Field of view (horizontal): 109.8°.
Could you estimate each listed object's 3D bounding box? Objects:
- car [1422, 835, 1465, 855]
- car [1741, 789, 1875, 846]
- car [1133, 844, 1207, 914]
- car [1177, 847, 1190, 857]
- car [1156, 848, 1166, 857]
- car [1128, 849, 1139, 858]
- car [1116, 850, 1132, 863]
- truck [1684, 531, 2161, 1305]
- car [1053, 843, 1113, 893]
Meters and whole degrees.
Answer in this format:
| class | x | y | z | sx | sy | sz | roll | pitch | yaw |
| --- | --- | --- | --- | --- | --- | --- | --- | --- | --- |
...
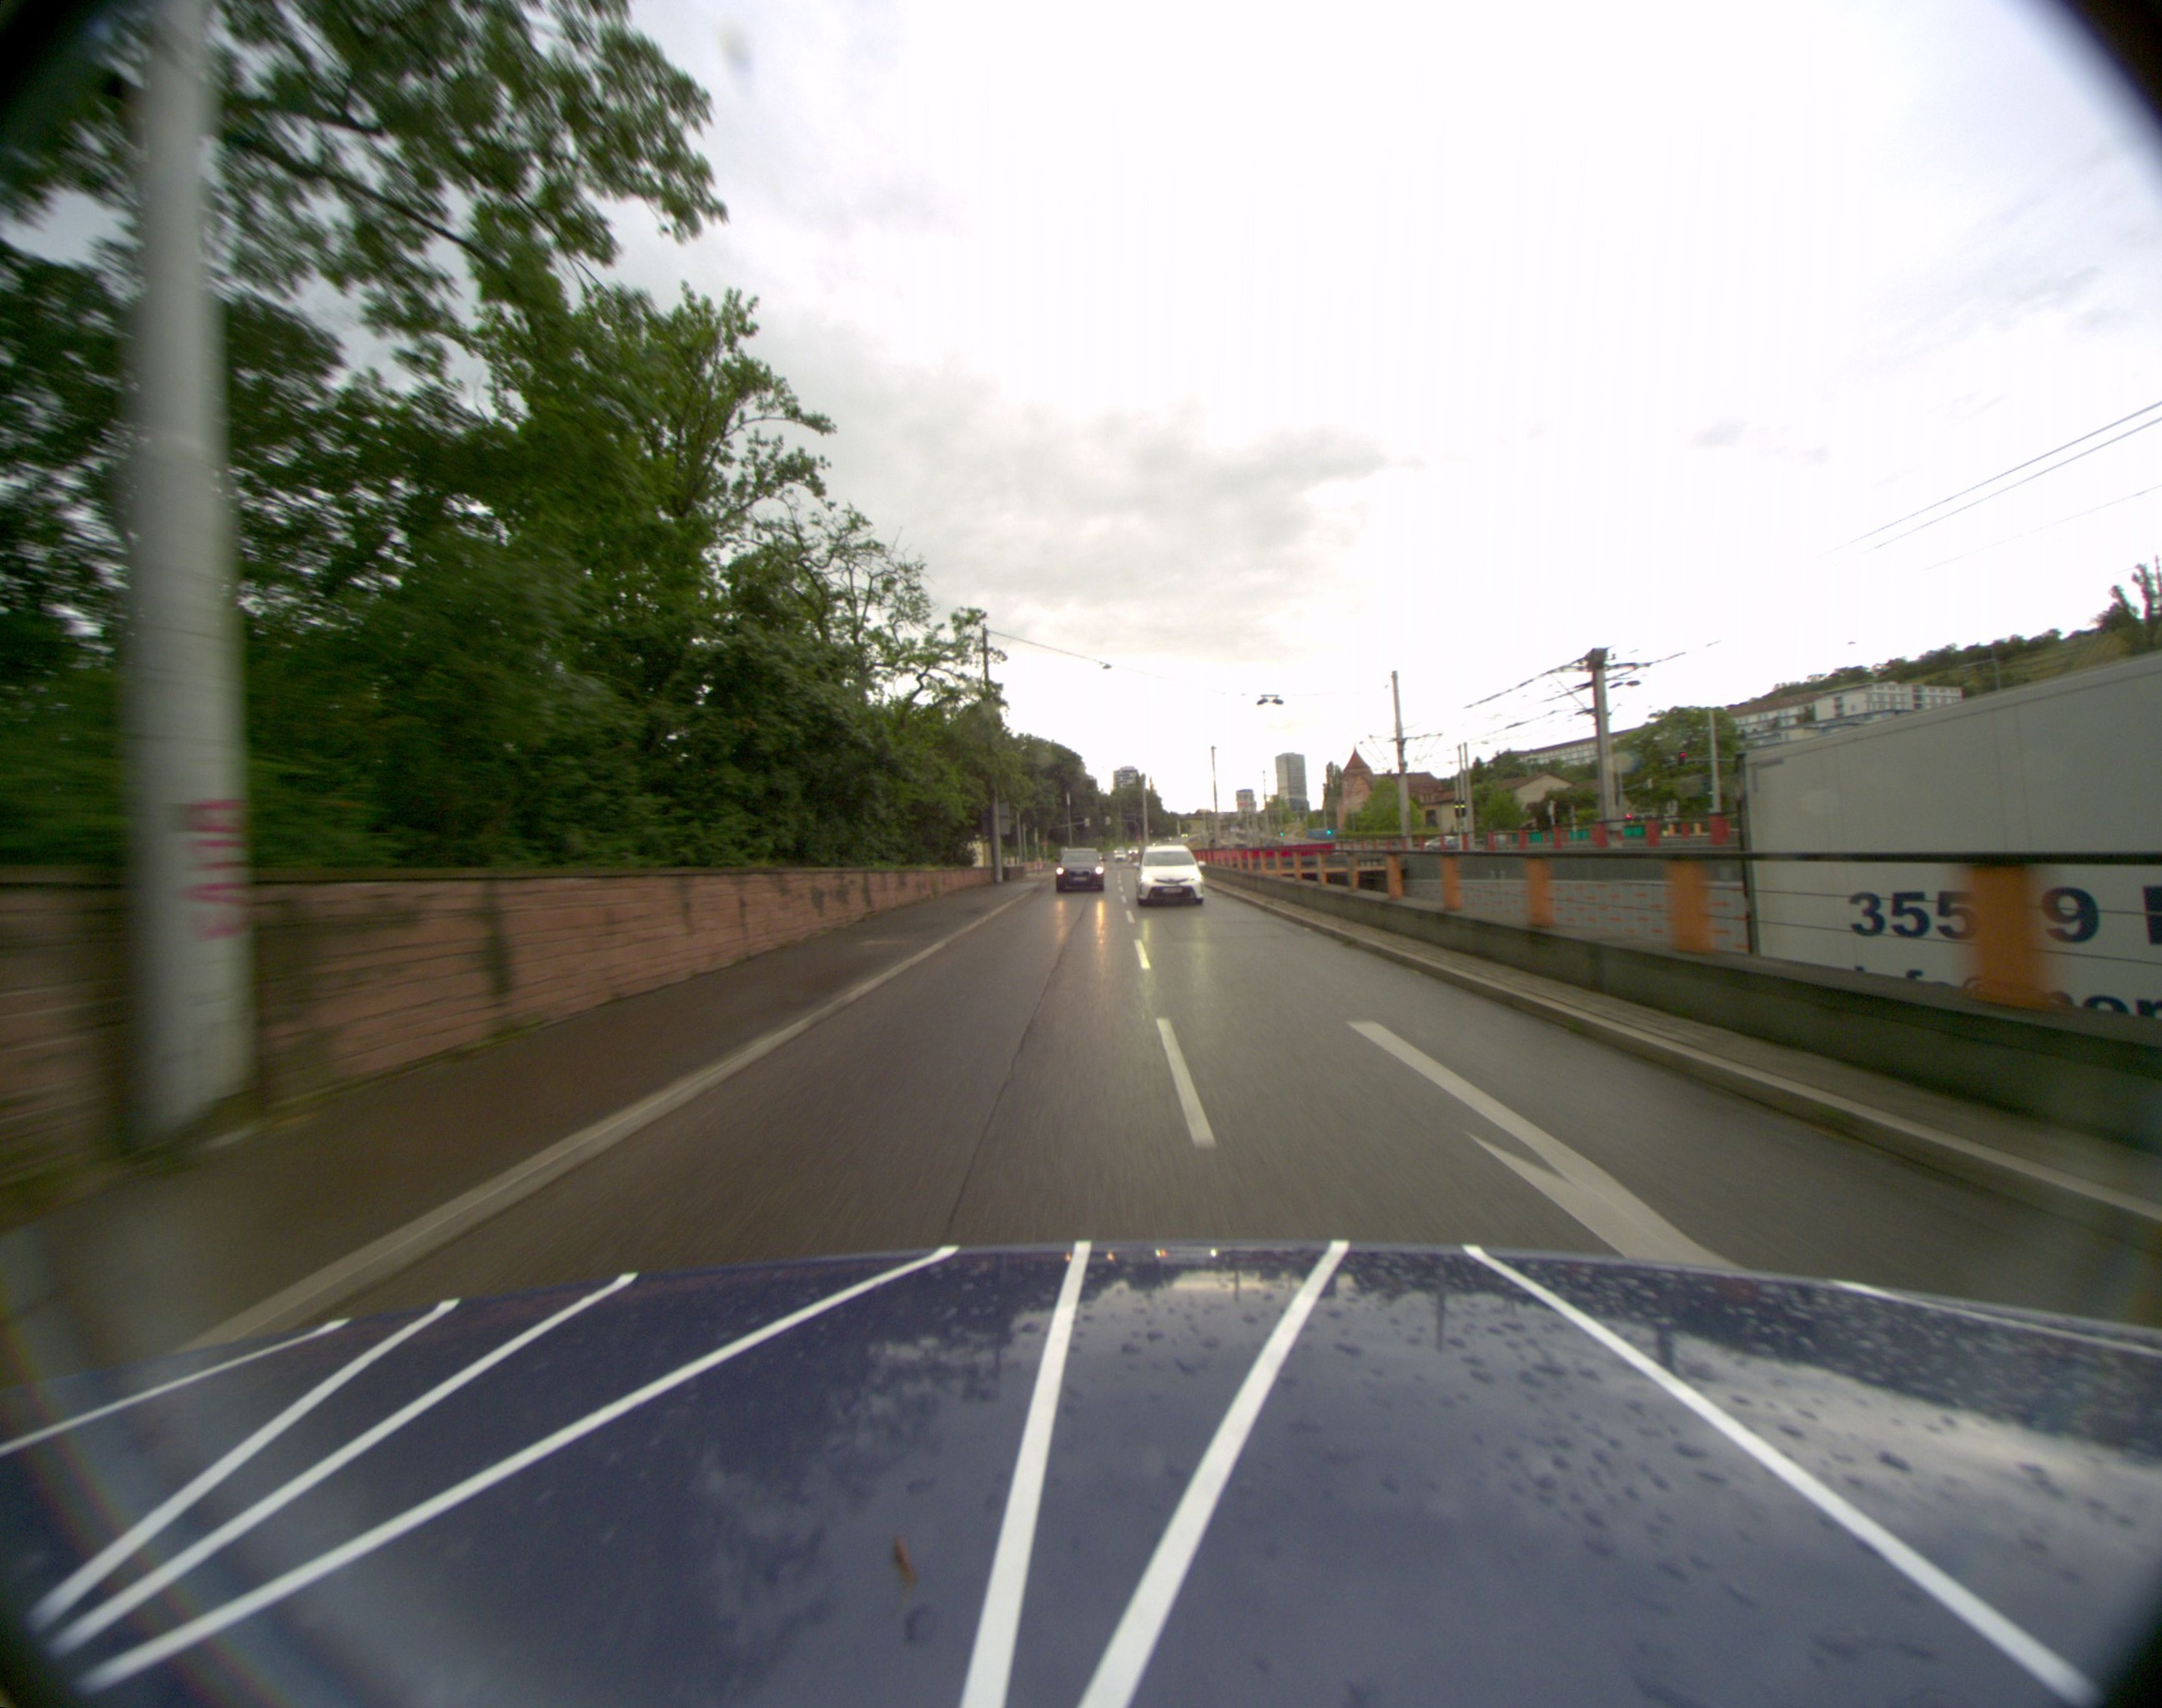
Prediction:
| class | x | y | z | sx | sy | sz | roll | pitch | yaw |
| --- | --- | --- | --- | --- | --- | --- | --- | --- | --- |
| car | 41.464 | -1.023 | 87.005 | 3.994 | 2.003 | 2.000 | -3 | 3 | 11 |
| car | 39.371 | -1.891 | 41.412 | 1.998 | 2.815 | 5.717 | -1 | 1 | 2 |
| car | 2.423 | 0.619 | 21.494 | 1.855 | 1.741 | 4.000 | -1 | 1 | 4 |
| car | 17.449 | -0.348 | 129.009 | 1.737 | 1.579 | 4.001 | -3 | 2 | 12 |
| car | 15.566 | -0.304 | 147.805 | 1.801 | 1.463 | 4.000 | -3 | 2 | 4 |
| car | 9.561 | -0.054 | 139.150 | 1.801 | 1.502 | 4.001 | -3 | -1 | 3 |
| car | 6.296 | 0.301 | 110.324 | 1.737 | 1.579 | 4.001 | -3 | 2 | 12 |
| truck | 7.090 | 0.290 | 0.823 | 2.769 | 4.172 | 13.033 | -2 | -1 | 2 |
| car | 0.168 | 0.481 | 29.504 | 1.855 | 1.579 | 4.000 | -3 | 2 | 6 |
